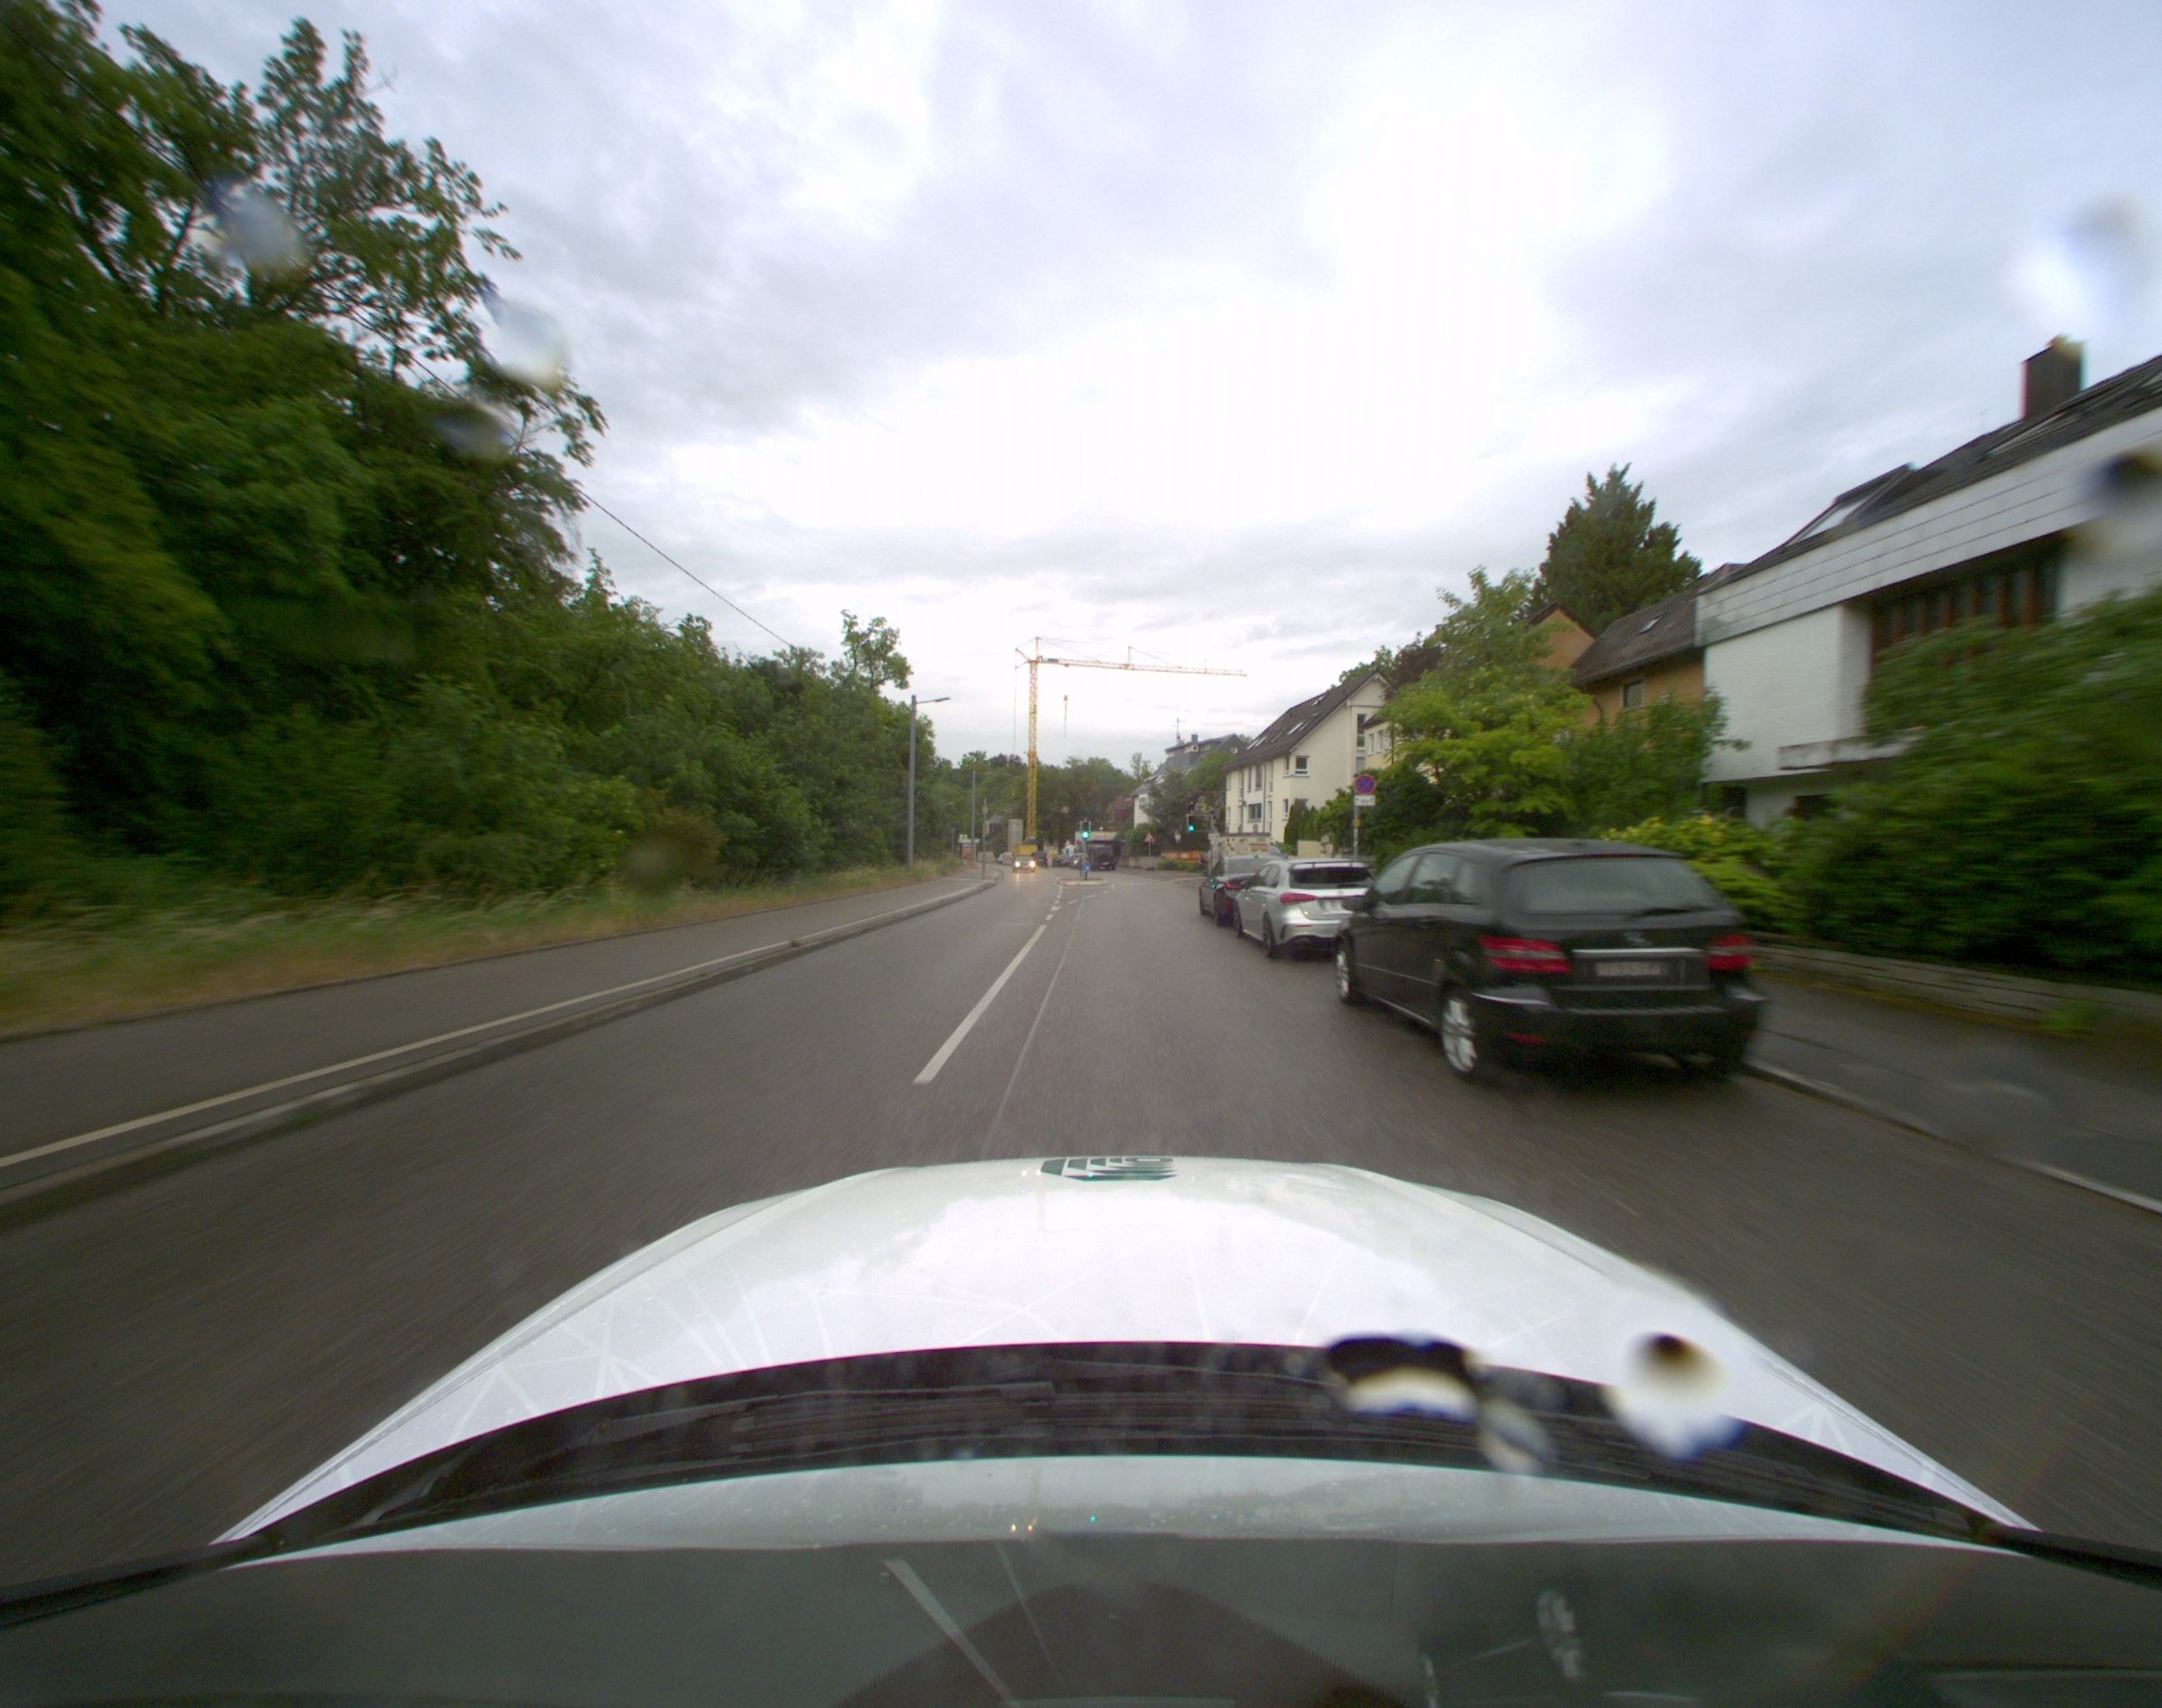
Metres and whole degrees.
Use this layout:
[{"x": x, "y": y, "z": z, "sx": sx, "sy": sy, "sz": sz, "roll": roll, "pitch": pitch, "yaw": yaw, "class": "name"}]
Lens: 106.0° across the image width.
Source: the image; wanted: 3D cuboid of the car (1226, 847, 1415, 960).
[{"x": 3.564, "y": 0.682, "z": 12.993, "sx": 1.786, "sy": 1.487, "sz": 4.496, "roll": 0, "pitch": -1, "yaw": 1, "class": "car"}]

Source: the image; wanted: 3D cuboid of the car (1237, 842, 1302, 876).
[{"x": 9.809, "y": 0.273, "z": 42.729, "sx": 1.930, "sy": 1.596, "sz": 4.330, "roll": 2, "pitch": -1, "yaw": -7, "class": "car"}]

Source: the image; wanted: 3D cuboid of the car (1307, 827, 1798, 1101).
[{"x": 3.366, "y": 0.626, "z": 6.994, "sx": 1.723, "sy": 1.568, "sz": 4.524, "roll": -1, "pitch": 0, "yaw": 2, "class": "car"}]

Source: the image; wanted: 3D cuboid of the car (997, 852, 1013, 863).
[{"x": -12.387, "y": 0.585, "z": 132.886, "sx": 1.748, "sy": 1.706, "sz": 4.478, "roll": -2, "pitch": 0, "yaw": -15, "class": "car"}]

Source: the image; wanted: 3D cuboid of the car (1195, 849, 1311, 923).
[{"x": 3.656, "y": 0.645, "z": 18.087, "sx": 1.745, "sy": 1.443, "sz": 4.602, "roll": 0, "pitch": -1, "yaw": 2, "class": "car"}]

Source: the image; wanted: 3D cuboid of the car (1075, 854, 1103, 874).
[{"x": 0.680, "y": 0.896, "z": 73.139, "sx": 1.930, "sy": 1.596, "sz": 4.384, "roll": -3, "pitch": 0, "yaw": -7, "class": "car"}]

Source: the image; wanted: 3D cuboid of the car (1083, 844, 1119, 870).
[{"x": 1.633, "y": 0.270, "z": 68.179, "sx": 1.994, "sy": 2.013, "sz": 4.939, "roll": -2, "pitch": 0, "yaw": -10, "class": "car"}]

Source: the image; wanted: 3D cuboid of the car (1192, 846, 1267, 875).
[{"x": 9.460, "y": 0.417, "z": 52.069, "sx": 4.323, "sy": 1.596, "sz": 1.987, "roll": 2, "pitch": -1, "yaw": -7, "class": "car"}]

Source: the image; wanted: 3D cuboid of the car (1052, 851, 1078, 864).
[{"x": -1.864, "y": 0.395, "z": 91.313, "sx": 1.934, "sy": 1.422, "sz": 4.814, "roll": 0, "pitch": 0, "yaw": -14, "class": "car"}]

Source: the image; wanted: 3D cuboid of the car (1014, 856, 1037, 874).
[{"x": -4.589, "y": 0.873, "z": 66.882, "sx": 1.741, "sy": 1.460, "sz": 4.405, "roll": -1, "pitch": 0, "yaw": -6, "class": "car"}]

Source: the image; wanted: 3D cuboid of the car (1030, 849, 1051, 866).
[{"x": -4.295, "y": 0.328, "z": 86.209, "sx": 1.930, "sy": 1.751, "sz": 3.990, "roll": 0, "pitch": 0, "yaw": -7, "class": "car"}]

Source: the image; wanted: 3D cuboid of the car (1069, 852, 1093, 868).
[{"x": -0.024, "y": 0.531, "z": 77.301, "sx": 1.673, "sy": 1.457, "sz": 3.374, "roll": -1, "pitch": 0, "yaw": -10, "class": "car"}]
